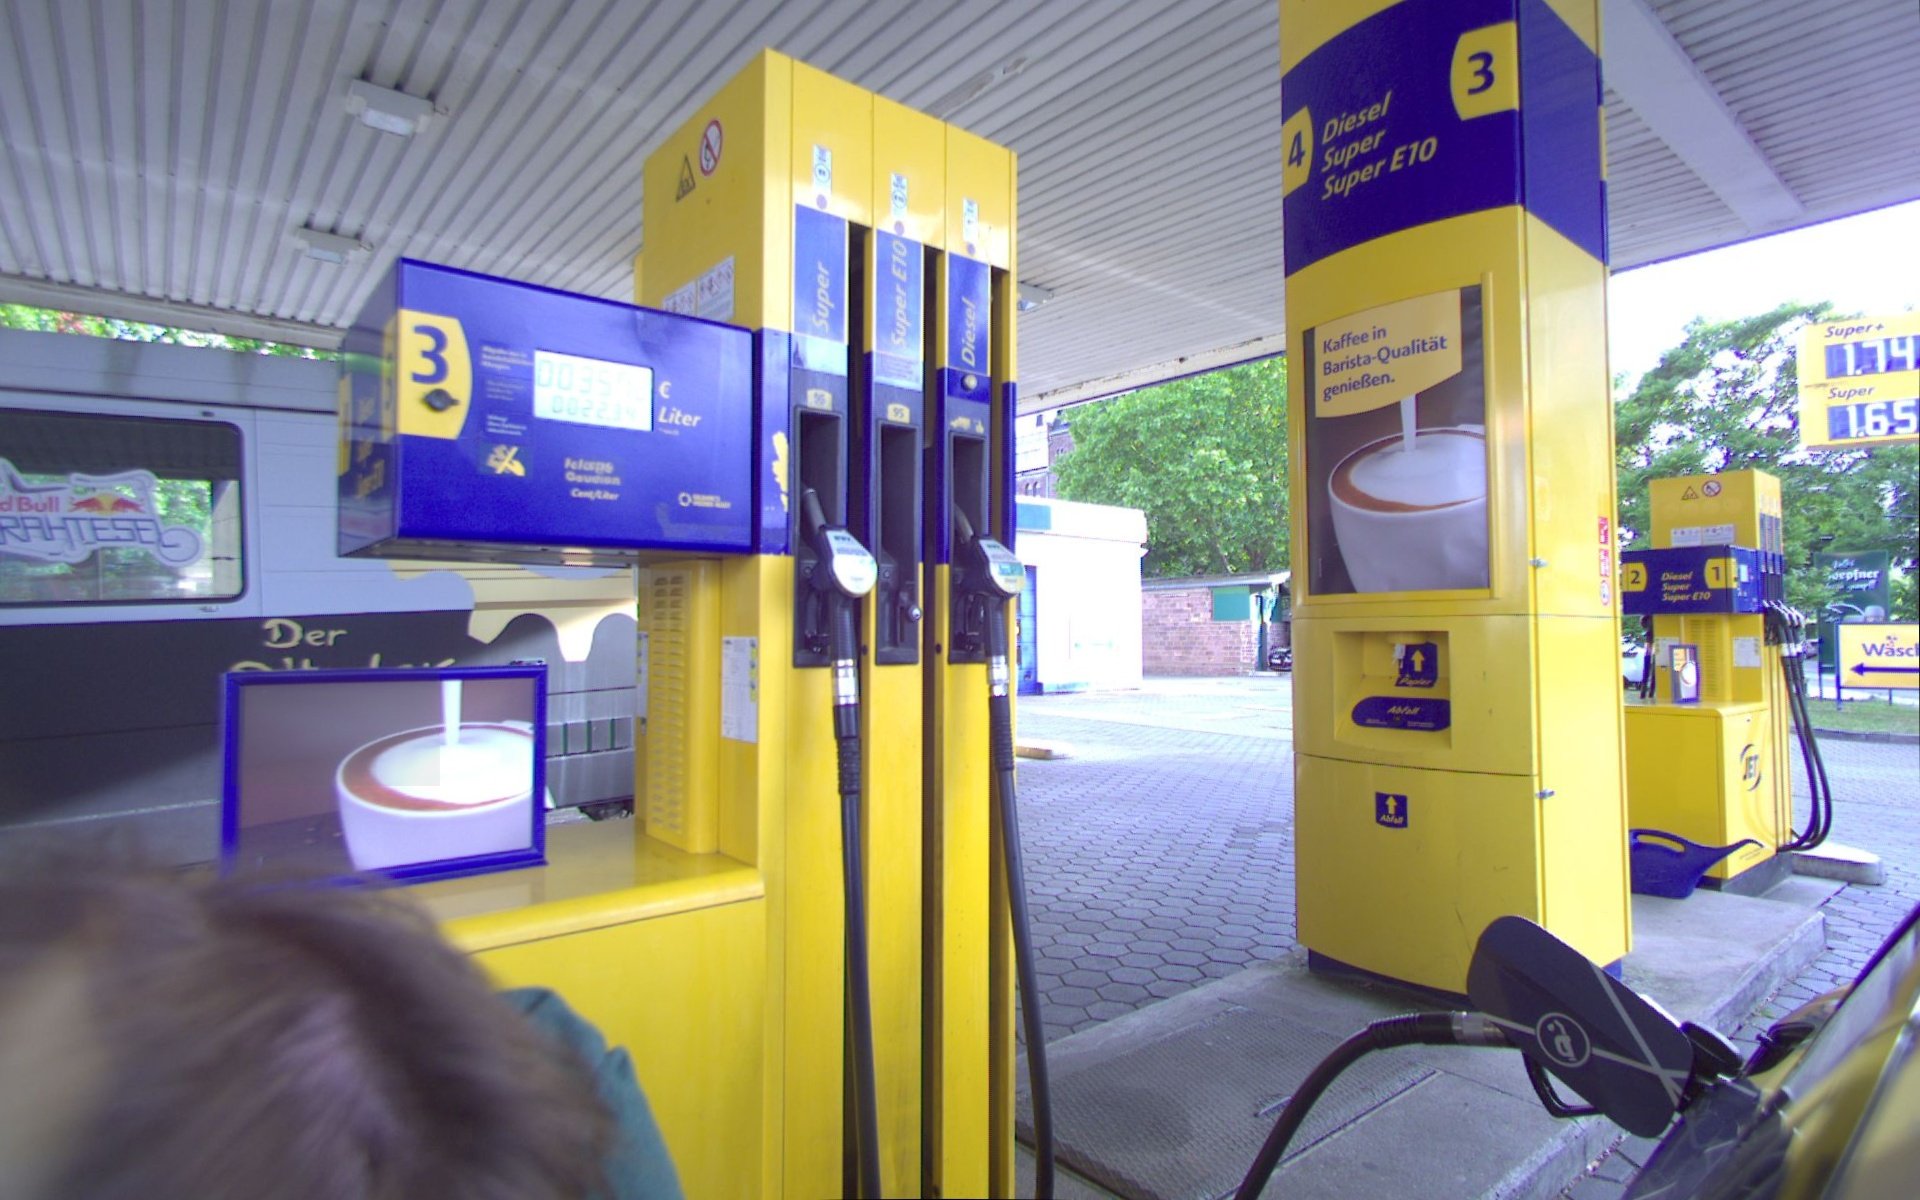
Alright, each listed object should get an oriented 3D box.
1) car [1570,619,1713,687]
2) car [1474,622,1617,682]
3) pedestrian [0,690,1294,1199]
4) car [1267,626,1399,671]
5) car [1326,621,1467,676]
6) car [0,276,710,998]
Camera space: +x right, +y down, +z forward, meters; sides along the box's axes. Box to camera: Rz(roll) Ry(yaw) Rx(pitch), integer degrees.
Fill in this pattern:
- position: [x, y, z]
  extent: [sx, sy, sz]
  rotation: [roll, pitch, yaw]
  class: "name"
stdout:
- position: [18.355, 1.447, 27.201]
  extent: [4.308, 1.622, 1.774]
  rotation: [4, -4, -35]
  class: "car"
- position: [17.844, 1.591, 30.799]
  extent: [4.303, 1.622, 1.776]
  rotation: [4, -4, -28]
  class: "car"
- position: [-0.332, 0.747, 0.541]
  extent: [0.662, 1.298, 0.751]
  rotation: [0, 0, -41]
  class: "pedestrian"
- position: [12.688, 1.654, 34.425]
  extent: [4.303, 1.393, 1.777]
  rotation: [2, -1, -28]
  class: "car"
- position: [13.885, 1.531, 32.134]
  extent: [4.303, 1.622, 1.777]
  rotation: [2, -1, -28]
  class: "car"
- position: [-4.107, 0.158, 4.888]
  extent: [5.197, 2.726, 2.258]
  rotation: [1, -2, -39]
  class: "car"
